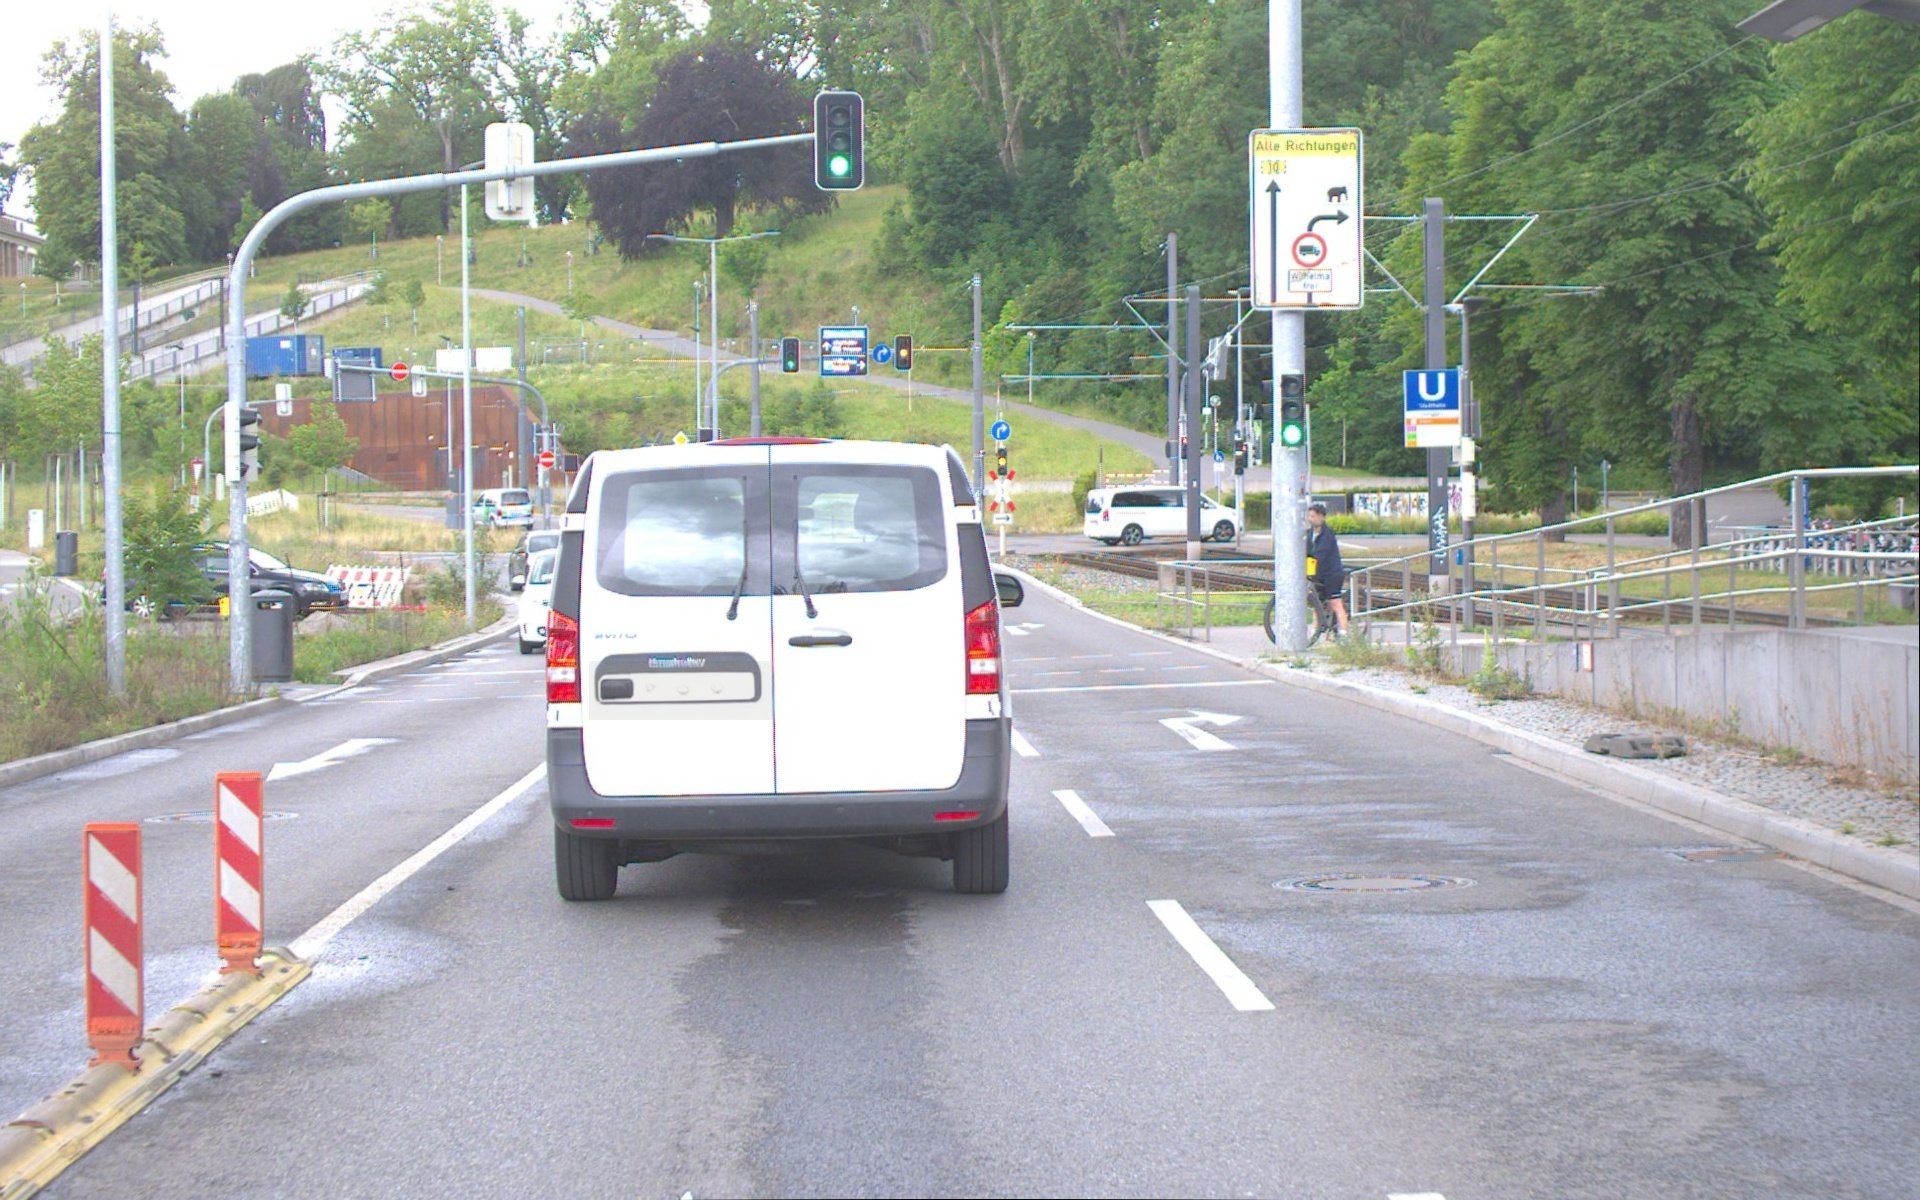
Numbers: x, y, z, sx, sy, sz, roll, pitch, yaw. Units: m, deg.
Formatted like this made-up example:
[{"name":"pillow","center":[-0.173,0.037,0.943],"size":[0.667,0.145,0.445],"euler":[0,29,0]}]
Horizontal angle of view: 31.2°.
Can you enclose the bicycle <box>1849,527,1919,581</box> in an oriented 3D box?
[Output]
[{"name":"bicycle","center":[17.446,-0.862,63.501],"size":[1.912,0.972,0.531],"euler":[-1,1,-1]}]

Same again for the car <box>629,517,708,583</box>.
[{"name":"car","center":[-7.190,-1.236,85.034],"size":[1.730,1.523,4.445],"euler":[-2,1,-2]}]

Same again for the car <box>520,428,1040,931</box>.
[{"name":"car","center":[-0.723,0.263,15.270],"size":[1.959,1.897,4.462],"euler":[0,1,-1]}]

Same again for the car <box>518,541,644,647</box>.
[{"name":"car","center":[-5.694,-0.108,51.991],"size":[1.591,1.512,4.085],"euler":[-1,1,-3]}]

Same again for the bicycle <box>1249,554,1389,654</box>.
[{"name":"bicycle","center":[4.134,0.039,39.508],"size":[1.679,1.070,0.620],"euler":[-2,3,-41]}]

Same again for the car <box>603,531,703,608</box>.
[{"name":"car","center":[-6.098,-0.609,68.596],"size":[1.730,1.416,4.445],"euler":[2,1,-3]}]

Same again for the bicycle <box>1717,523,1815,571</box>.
[{"name":"bicycle","center":[16.939,-1.114,72.285],"size":[1.912,0.972,0.531],"euler":[-1,1,-1]}]

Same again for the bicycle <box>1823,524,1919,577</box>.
[{"name":"bicycle","center":[17.376,-0.939,65.086],"size":[1.912,0.972,0.531],"euler":[-1,1,-1]}]

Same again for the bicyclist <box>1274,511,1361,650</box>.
[{"name":"bicyclist","center":[4.103,-0.233,39.469],"size":[0.804,1.567,0.618],"euler":[-2,3,-41]}]

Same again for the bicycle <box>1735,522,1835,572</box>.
[{"name":"bicycle","center":[16.880,-1.086,70.376],"size":[1.912,0.972,0.531],"euler":[-1,1,-1]}]

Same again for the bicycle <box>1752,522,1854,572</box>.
[{"name":"bicycle","center":[17.074,-1.082,69.653],"size":[1.912,0.972,0.531],"euler":[-1,1,-1]}]

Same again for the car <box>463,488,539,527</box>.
[{"name":"car","center":[-19.603,-3.939,146.760],"size":[1.937,1.621,4.001],"euler":[0,2,-28]}]

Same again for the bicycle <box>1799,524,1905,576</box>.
[{"name":"bicycle","center":[17.277,-0.972,66.607],"size":[1.912,0.972,0.531],"euler":[-1,1,-1]}]

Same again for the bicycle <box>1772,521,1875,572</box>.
[{"name":"bicycle","center":[17.293,-1.074,68.844],"size":[1.912,0.972,0.531],"euler":[-1,1,-1]}]

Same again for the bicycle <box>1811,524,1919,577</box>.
[{"name":"bicycle","center":[17.318,-0.948,65.826],"size":[1.912,0.972,0.531],"euler":[-1,1,-1]}]

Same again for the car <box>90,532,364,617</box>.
[{"name":"car","center":[-14.040,-0.501,65.960],"size":[4.711,1.472,2.000],"euler":[-1,2,8]}]

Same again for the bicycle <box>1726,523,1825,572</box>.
[{"name":"bicycle","center":[16.925,-1.100,71.359],"size":[1.912,0.972,0.531],"euler":[-1,1,-1]}]

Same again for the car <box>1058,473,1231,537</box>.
[{"name":"car","center":[5.977,-3.067,111.252],"size":[5.132,2.007,2.209],"euler":[0,1,-17]}]

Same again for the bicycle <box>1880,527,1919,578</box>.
[{"name":"bicycle","center":[17.738,-0.876,62.394],"size":[1.912,0.892,0.531],"euler":[-1,1,-1]}]

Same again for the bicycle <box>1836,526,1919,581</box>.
[{"name":"bicycle","center":[17.374,-0.873,64.147],"size":[1.912,0.972,0.531],"euler":[-1,1,-1]}]
